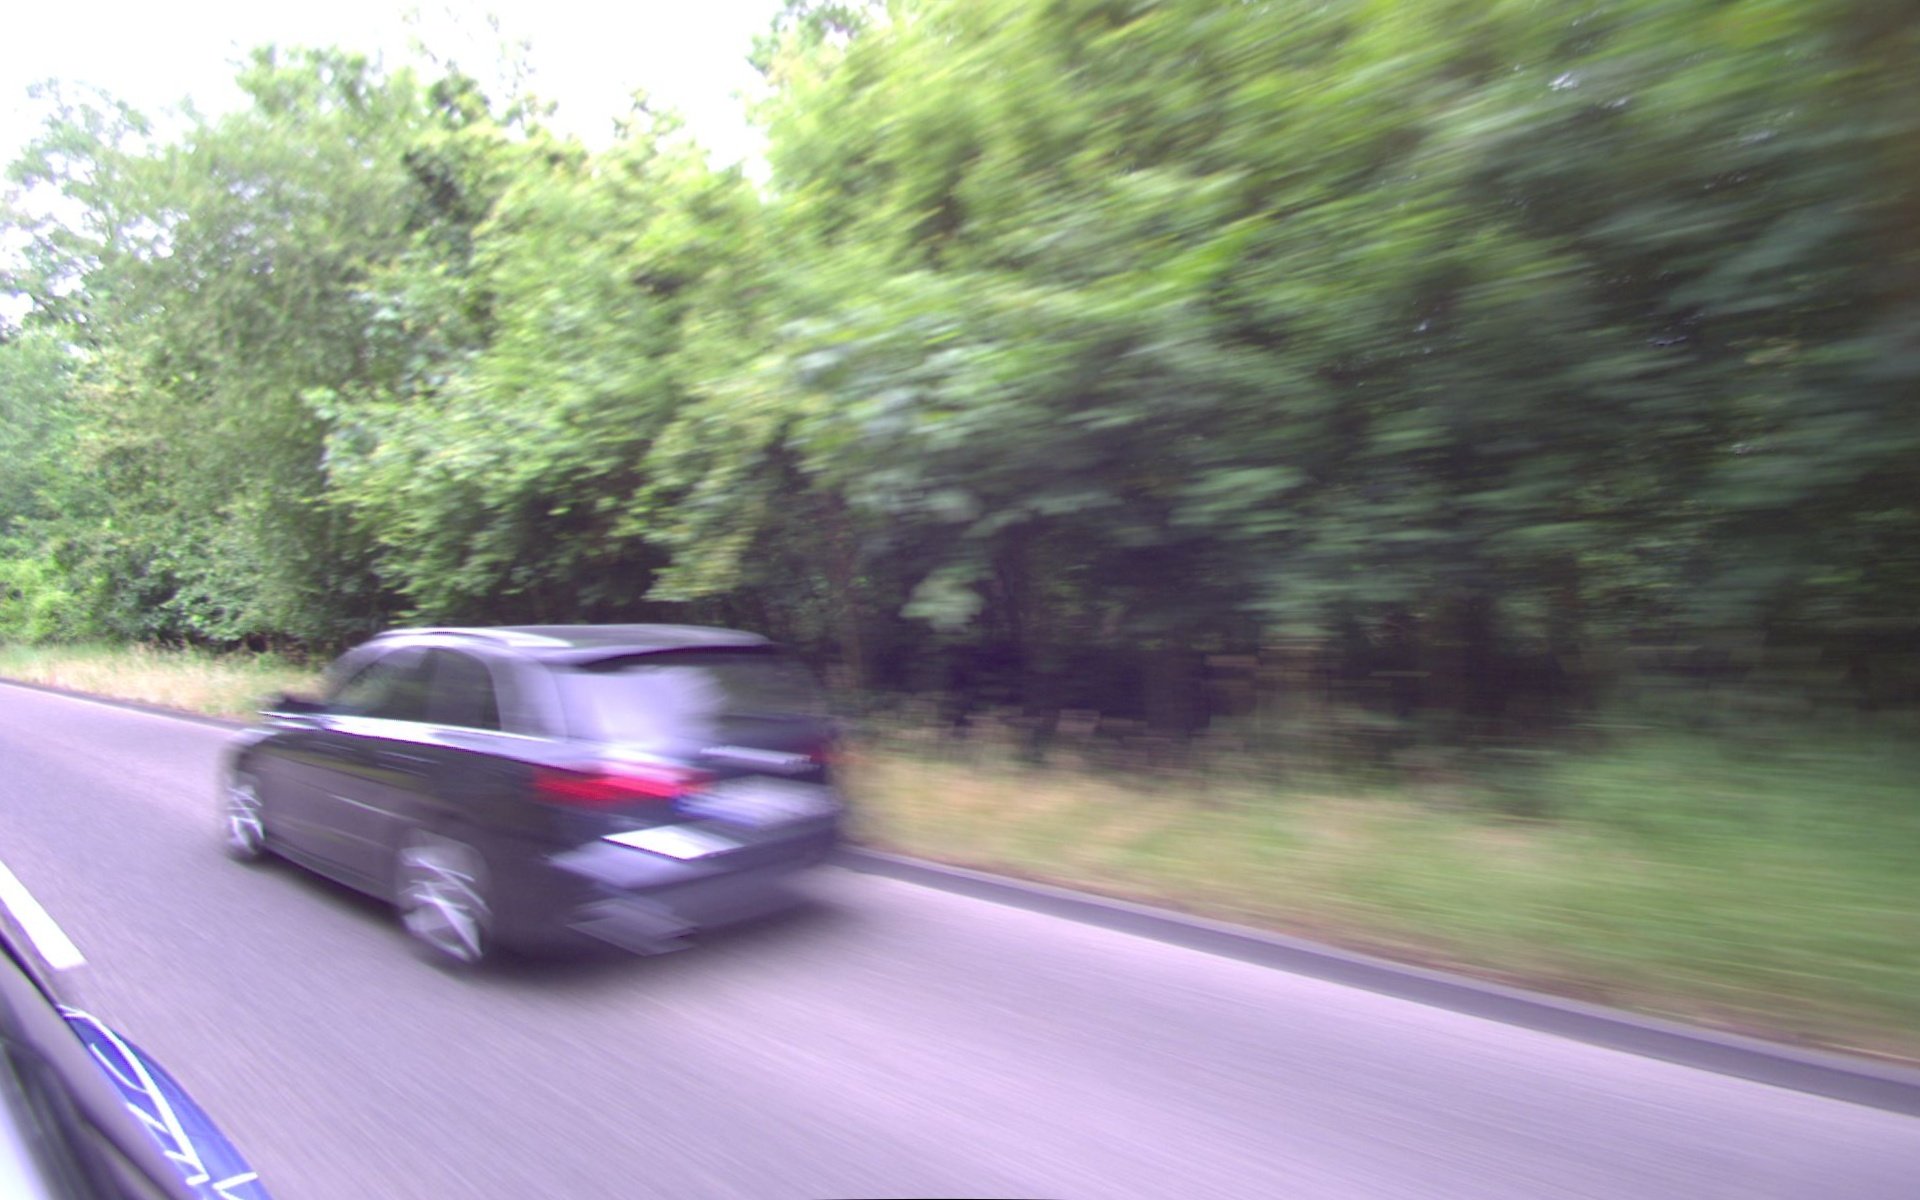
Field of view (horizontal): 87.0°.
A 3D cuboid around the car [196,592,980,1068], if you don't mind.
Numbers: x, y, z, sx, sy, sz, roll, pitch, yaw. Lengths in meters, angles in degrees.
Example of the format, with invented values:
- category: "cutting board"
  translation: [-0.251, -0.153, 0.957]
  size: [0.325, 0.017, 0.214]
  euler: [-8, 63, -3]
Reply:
- category: "car"
  translation: [-2.300, 0.744, 5.501]
  size: [4.592, 1.519, 2.009]
  euler: [-1, 0, 40]
